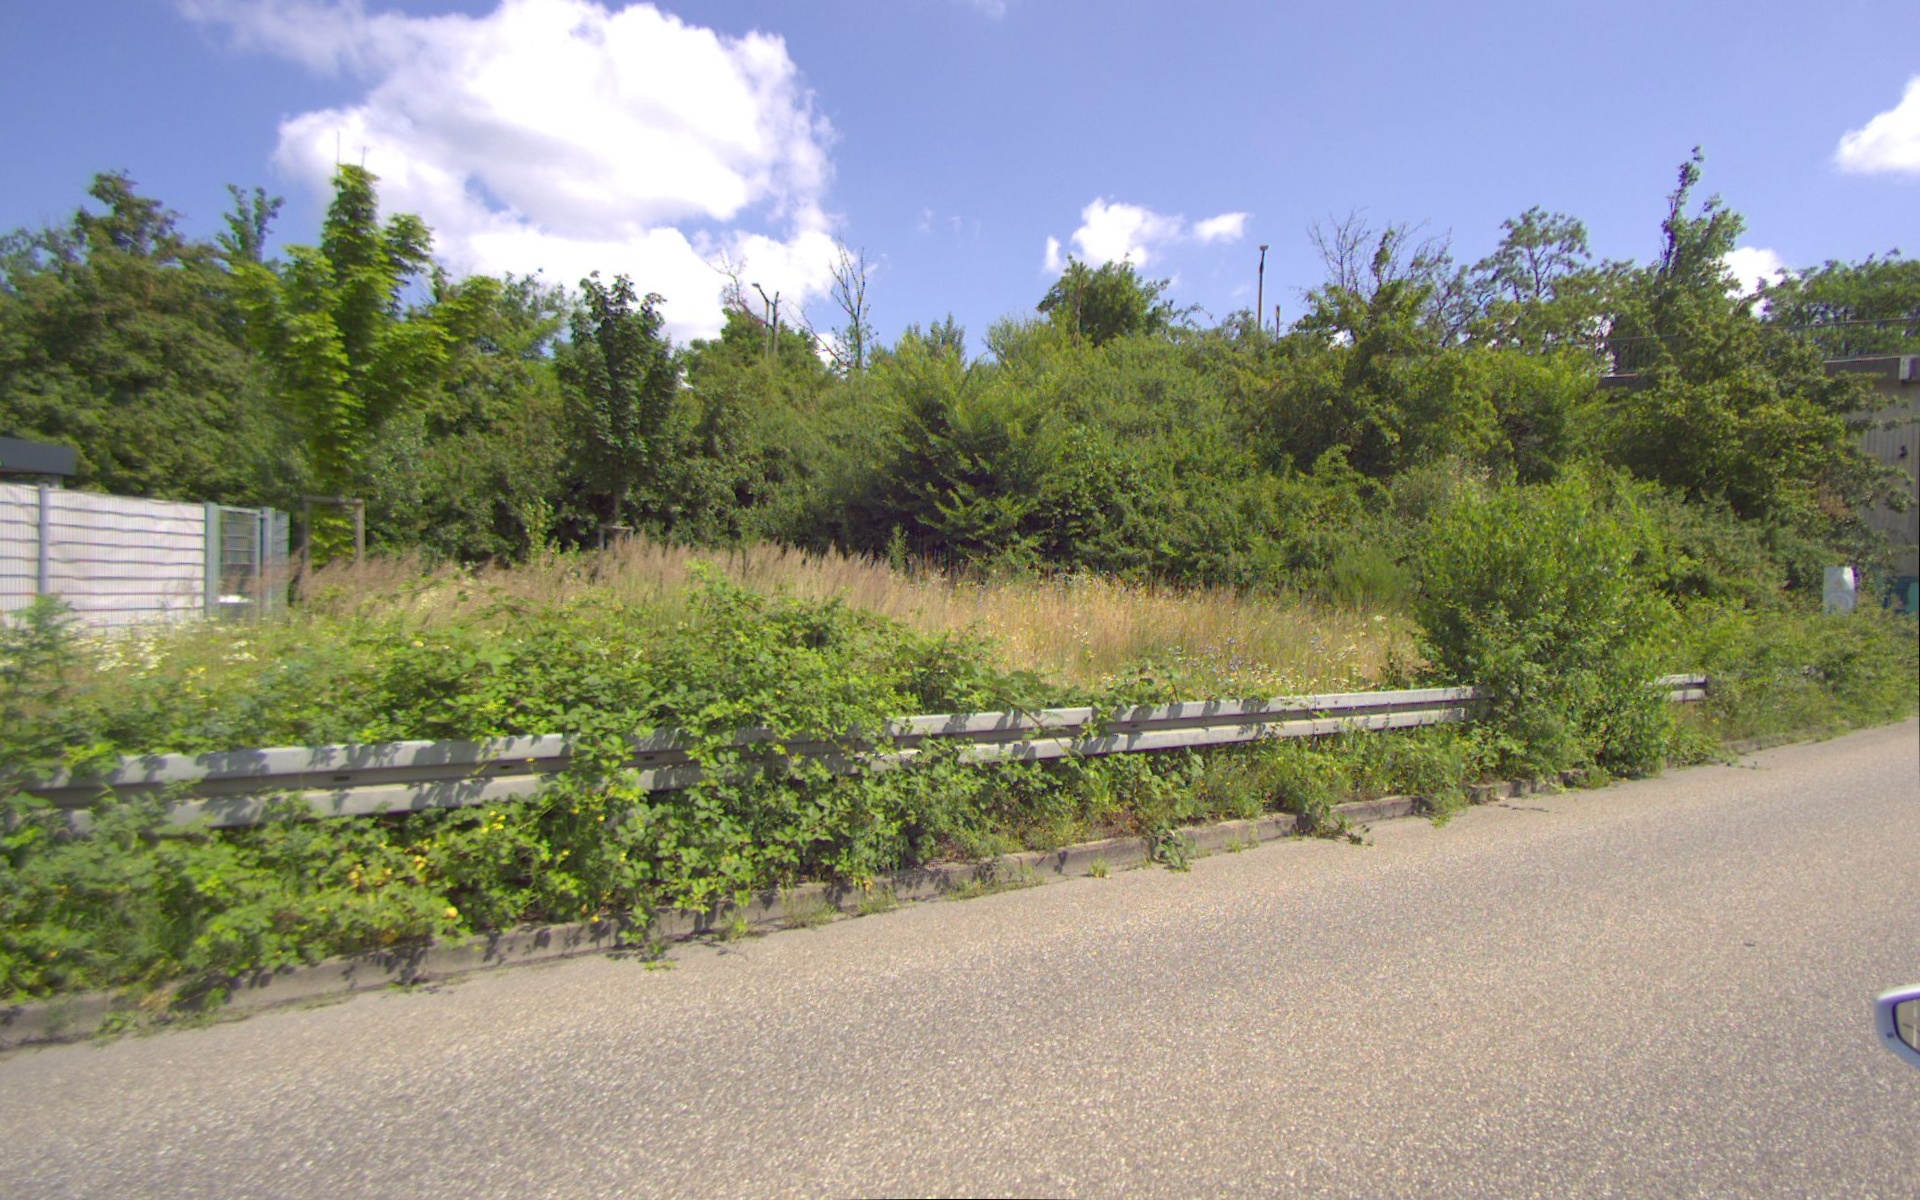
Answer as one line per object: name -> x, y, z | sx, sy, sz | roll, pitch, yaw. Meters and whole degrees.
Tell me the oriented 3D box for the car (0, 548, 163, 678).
car -> -14.501, 0.090, 14.482 | 4.457, 1.716, 2.000 | 2, 2, 1
